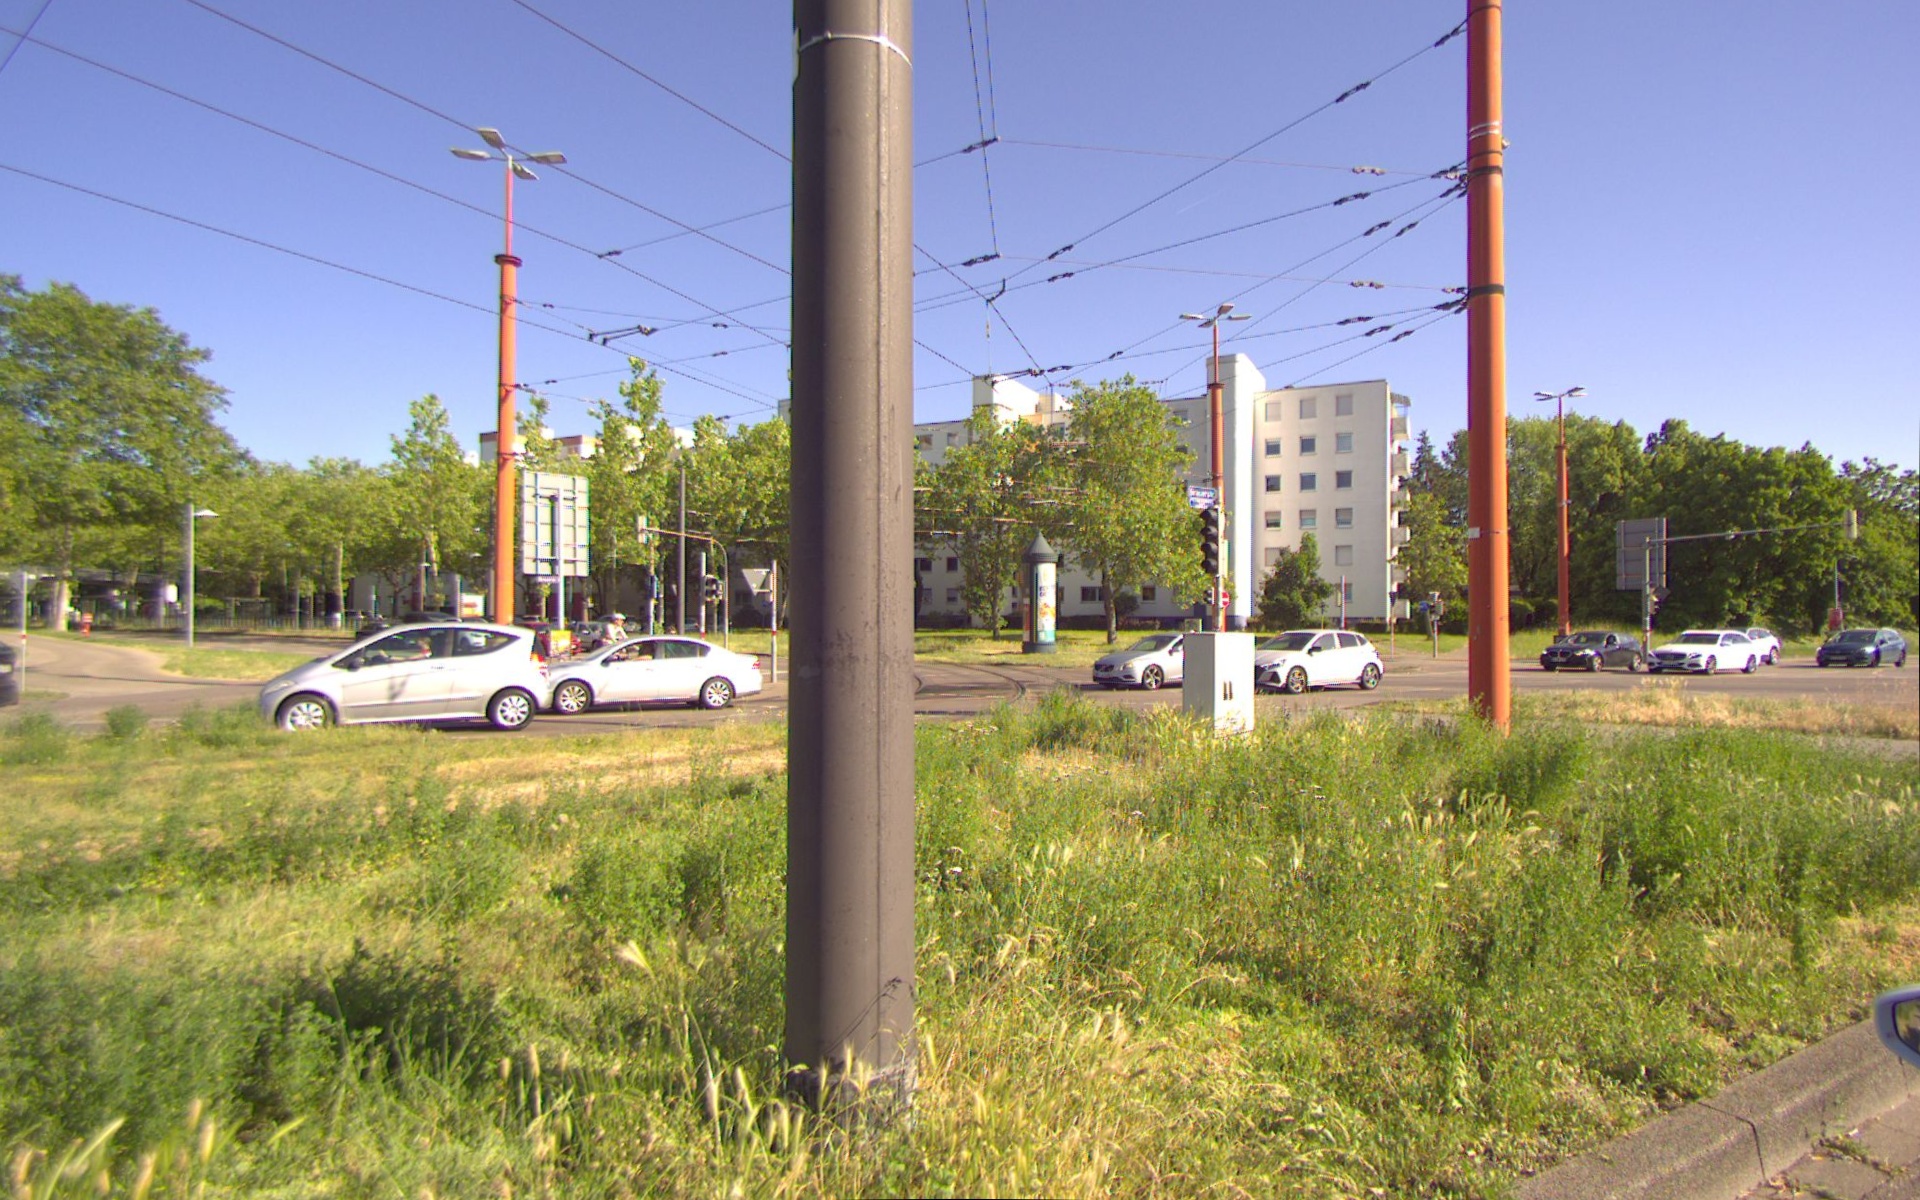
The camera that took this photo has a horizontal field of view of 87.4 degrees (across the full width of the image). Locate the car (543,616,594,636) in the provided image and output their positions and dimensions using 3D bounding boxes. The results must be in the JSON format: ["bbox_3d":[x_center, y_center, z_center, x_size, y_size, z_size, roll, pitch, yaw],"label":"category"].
[{"bbox_3d":[-33.801,2.238,86.848,3.935,1.617,1.889,1,0,-17],"label":"car"}]

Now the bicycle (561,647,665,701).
[{"bbox_3d":[-7.833,1.657,22.663,2.313,1.095,0.474,1,0,15],"label":"bicycle"}]

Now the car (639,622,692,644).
[{"bbox_3d":[-23.178,2.613,79.023,3.935,1.617,1.889,1,0,-17],"label":"car"}]

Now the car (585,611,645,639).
[{"bbox_3d":[-25.803,1.873,75.108,4.333,2.040,1.994,0,-1,34],"label":"car"}]

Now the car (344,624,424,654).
[{"bbox_3d":[-29.062,1.934,50.649,3.928,1.339,1.733,1,0,30],"label":"car"}]

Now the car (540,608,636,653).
[{"bbox_3d":[-17.457,1.408,47.085,4.198,1.926,1.996,1,0,30],"label":"car"}]

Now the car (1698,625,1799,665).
[{"bbox_3d":[33.941,1.921,43.215,4.383,1.622,1.831,2,-2,-29],"label":"car"}]

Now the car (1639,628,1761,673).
[{"bbox_3d":[25.179,1.709,34.162,4.589,1.441,1.695,2,-2,-31],"label":"car"}]

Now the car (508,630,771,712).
[{"bbox_3d":[-6.275,1.330,19.811,4.640,1.451,1.984,2,-2,-31],"label":"car"}]

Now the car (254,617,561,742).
[{"bbox_3d":[-7.973,1.098,14.756,3.713,1.629,1.755,2,-2,-30],"label":"car"}]

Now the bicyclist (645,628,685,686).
[{"bbox_3d":[-6.938,1.329,23.622,0.688,1.340,0.547,1,0,32],"label":"bicyclist"}]

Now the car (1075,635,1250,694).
[{"bbox_3d":[5.404,1.673,26.756,4.348,1.392,1.984,2,-1,-30],"label":"car"}]

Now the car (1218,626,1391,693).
[{"bbox_3d":[8.314,1.388,24.171,4.131,1.492,1.582,0,-2,-29],"label":"car"}]

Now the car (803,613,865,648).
[{"bbox_3d":[-8.631,2.083,68.748,3.935,2.341,1.889,1,0,-17],"label":"car"}]

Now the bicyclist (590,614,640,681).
[{"bbox_3d":[-7.780,1.058,22.652,0.742,1.449,0.752,1,0,15],"label":"bicyclist"}]

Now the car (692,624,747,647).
[{"bbox_3d":[-18.142,2.693,75.710,3.935,1.617,1.889,1,0,-17],"label":"car"}]

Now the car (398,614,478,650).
[{"bbox_3d":[-27.709,1.676,53.331,3.928,1.773,1.909,1,0,30],"label":"car"}]

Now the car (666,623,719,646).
[{"bbox_3d":[-20.679,2.655,77.625,3.935,1.617,1.889,1,0,-17],"label":"car"}]

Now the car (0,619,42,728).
[{"bbox_3d":[-15.941,1.001,13.773,4.577,1.500,1.984,2,-1,-30],"label":"car"}]

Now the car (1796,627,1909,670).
[{"bbox_3d":[35.441,1.903,39.870,4.408,1.615,1.986,1,-2,-29],"label":"car"}]

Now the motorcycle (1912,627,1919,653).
[{"bbox_3d":[43.572,1.795,45.121,2.066,1.146,0.420,1,0,-24],"label":"motorcycle"}]

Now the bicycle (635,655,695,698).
[{"bbox_3d":[-6.950,1.783,23.624,1.598,0.894,0.367,1,0,32],"label":"bicycle"}]

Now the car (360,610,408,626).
[{"bbox_3d":[-59.192,1.835,103.273,3.935,1.617,1.889,1,0,-17],"label":"car"}]

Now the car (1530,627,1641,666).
[{"bbox_3d":[22.724,1.685,36.484,3.985,1.359,1.852,2,-2,-31],"label":"car"}]

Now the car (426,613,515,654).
[{"bbox_3d":[-23.172,1.568,47.543,3.928,1.773,1.909,1,0,30],"label":"car"}]

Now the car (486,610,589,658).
[{"bbox_3d":[-18.482,1.469,43.902,4.198,1.926,1.996,1,0,30],"label":"car"}]

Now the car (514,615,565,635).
[{"bbox_3d":[-37.046,2.184,88.648,3.935,1.617,1.889,1,0,-17],"label":"car"}]
